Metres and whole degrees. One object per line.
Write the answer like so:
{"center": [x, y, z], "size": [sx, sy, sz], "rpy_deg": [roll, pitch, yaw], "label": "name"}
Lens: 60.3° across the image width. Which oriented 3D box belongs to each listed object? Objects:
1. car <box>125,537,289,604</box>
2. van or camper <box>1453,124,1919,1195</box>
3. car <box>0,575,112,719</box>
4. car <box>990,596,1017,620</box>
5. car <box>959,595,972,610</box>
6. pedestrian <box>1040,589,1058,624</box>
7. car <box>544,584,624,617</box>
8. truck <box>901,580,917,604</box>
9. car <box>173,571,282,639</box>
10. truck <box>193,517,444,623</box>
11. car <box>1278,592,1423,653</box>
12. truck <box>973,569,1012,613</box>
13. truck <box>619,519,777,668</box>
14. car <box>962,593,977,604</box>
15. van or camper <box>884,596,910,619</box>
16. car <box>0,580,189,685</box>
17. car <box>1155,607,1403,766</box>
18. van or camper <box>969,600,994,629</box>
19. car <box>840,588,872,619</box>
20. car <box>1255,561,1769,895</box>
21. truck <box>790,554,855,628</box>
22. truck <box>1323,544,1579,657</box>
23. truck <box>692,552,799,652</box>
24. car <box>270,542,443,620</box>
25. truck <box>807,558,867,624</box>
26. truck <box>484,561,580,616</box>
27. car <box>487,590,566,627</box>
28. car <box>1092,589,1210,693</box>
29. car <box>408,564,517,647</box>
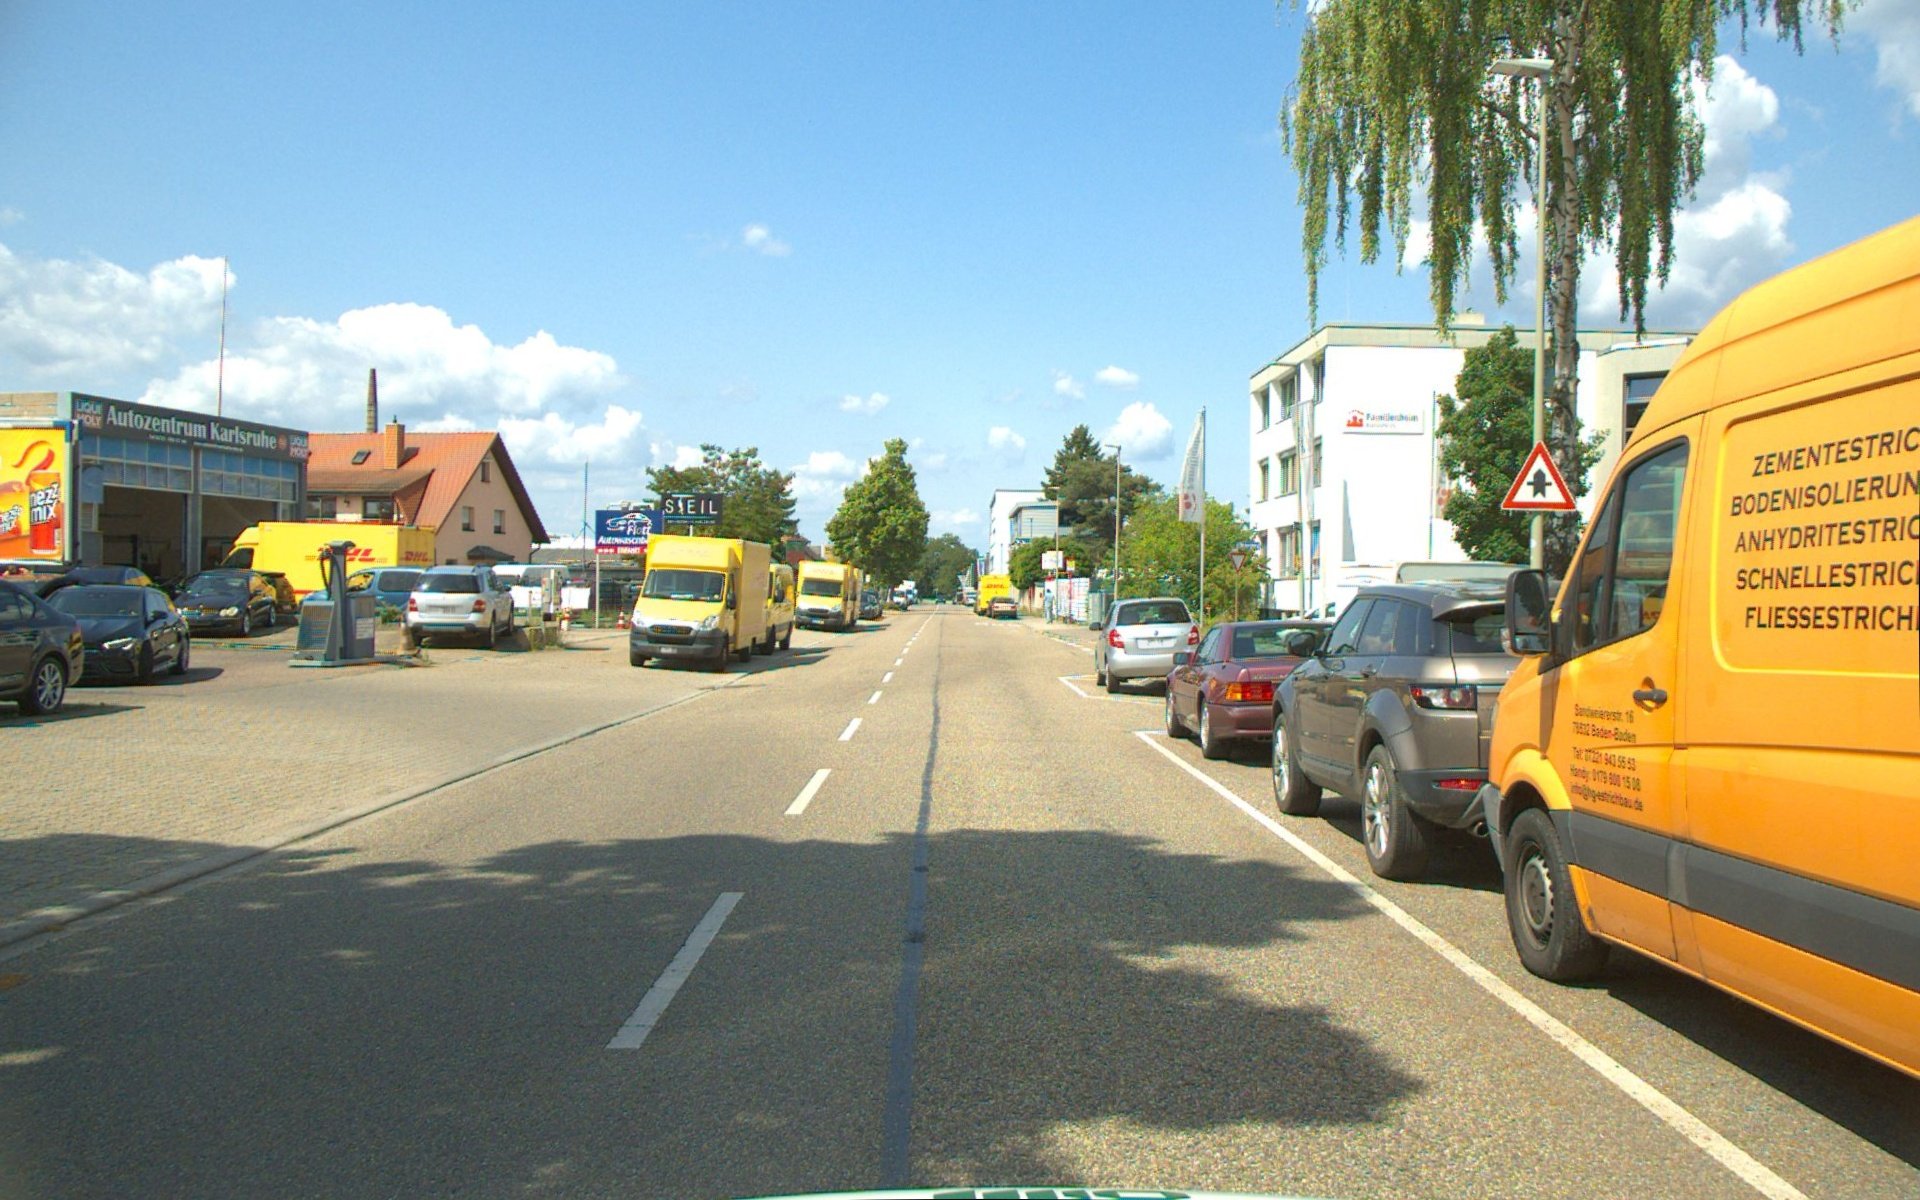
{"center": [-20.572, -0.793, 45.247], "size": [3.760, 1.761, 1.734], "rpy_deg": [1, 0, 10], "label": "car"}
{"center": [3.383, 0.152, 4.796], "size": [1.953, 2.710, 5.767], "rpy_deg": [1, 0, -2], "label": "van or camper"}
{"center": [-10.426, 0.456, 16.312], "size": [1.718, 1.435, 4.584], "rpy_deg": [1, 0, 0], "label": "car"}
{"center": [2.848, 0.508, 109.316], "size": [1.618, 1.411, 4.422], "rpy_deg": [2, 1, 0], "label": "car"}
{"center": [0.796, 0.322, 237.462], "size": [1.672, 2.126, 3.999], "rpy_deg": [1, 0, -1], "label": "car"}
{"center": [4.469, 0.323, 83.359], "size": [0.702, 1.726, 0.522], "rpy_deg": [-5, 0, -5], "label": "pedestrian"}
{"center": [-15.994, -0.003, 70.563], "size": [1.771, 1.328, 3.872], "rpy_deg": [0, 1, 14], "label": "car"}
{"center": [-6.887, -1.128, 225.317], "size": [1.988, 3.209, 6.499], "rpy_deg": [1, 0, 0], "label": "truck"}
{"center": [-17.392, 0.081, 39.433], "size": [1.641, 1.310, 3.996], "rpy_deg": [1, 4, -13], "label": "car"}
{"center": [-18.620, -0.883, 48.105], "size": [6.457, 2.900, 2.531], "rpy_deg": [1, 0, 12], "label": "truck"}
{"center": [12.278, 0.698, 51.916], "size": [4.302, 1.783, 1.865], "rpy_deg": [1, -2, 18], "label": "car"}
{"center": [2.321, -0.640, 120.720], "size": [2.424, 2.991, 7.186], "rpy_deg": [2, 0, -2], "label": "truck"}
{"center": [-5.686, -0.151, 36.980], "size": [2.175, 2.907, 7.070], "rpy_deg": [2, 0, 1], "label": "truck"}
{"center": [1.230, -0.204, 213.569], "size": [1.889, 1.333, 3.999], "rpy_deg": [1, 0, -1], "label": "car"}
{"center": [-6.845, 0.765, 180.235], "size": [2.128, 2.455, 7.700], "rpy_deg": [1, 0, 3], "label": "van or camper"}
{"center": [-13.513, 0.458, 24.536], "size": [4.505, 1.419, 1.991], "rpy_deg": [-1, -1, 38], "label": "car"}
{"center": [3.133, 0.786, 17.098], "size": [1.635, 1.358, 4.437], "rpy_deg": [1, 0, -1], "label": "car"}
{"center": [1.818, 1.245, 140.535], "size": [1.953, 2.331, 5.447], "rpy_deg": [2, 0, -1], "label": "van or camper"}
{"center": [-6.133, 0.193, 98.048], "size": [1.690, 1.632, 4.412], "rpy_deg": [4, 0, -2], "label": "car"}
{"center": [3.174, 0.637, 10.493], "size": [1.795, 1.668, 4.239], "rpy_deg": [1, 0, -1], "label": "car"}
{"center": [-5.799, -0.339, 70.583], "size": [2.223, 2.904, 7.172], "rpy_deg": [2, 0, -1], "label": "truck"}
{"center": [12.134, 0.039, 40.815], "size": [5.967, 2.622, 2.544], "rpy_deg": [1, 0, -27], "label": "truck"}
{"center": [-5.615, 0.040, 44.094], "size": [1.952, 2.456, 6.065], "rpy_deg": [1, 0, 1], "label": "truck"}
{"center": [-16.145, -0.499, 44.342], "size": [3.845, 1.841, 1.857], "rpy_deg": [3, 1, 9], "label": "car"}
{"center": [-5.899, -0.442, 80.197], "size": [2.269, 2.912, 7.103], "rpy_deg": [3, 0, -1], "label": "truck"}
{"center": [-20.555, -0.535, 79.702], "size": [2.065, 2.531, 5.725], "rpy_deg": [1, 0, 13], "label": "truck"}
{"center": [-18.789, 0.341, 71.803], "size": [1.727, 1.539, 3.921], "rpy_deg": [1, 0, 12], "label": "car"}
{"center": [3.218, 0.646, 28.464], "size": [1.577, 1.608, 4.001], "rpy_deg": [2, 0, 1], "label": "car"}
{"center": [-11.520, 0.073, 38.591], "size": [1.795, 1.735, 4.699], "rpy_deg": [1, 2, -9], "label": "car"}
